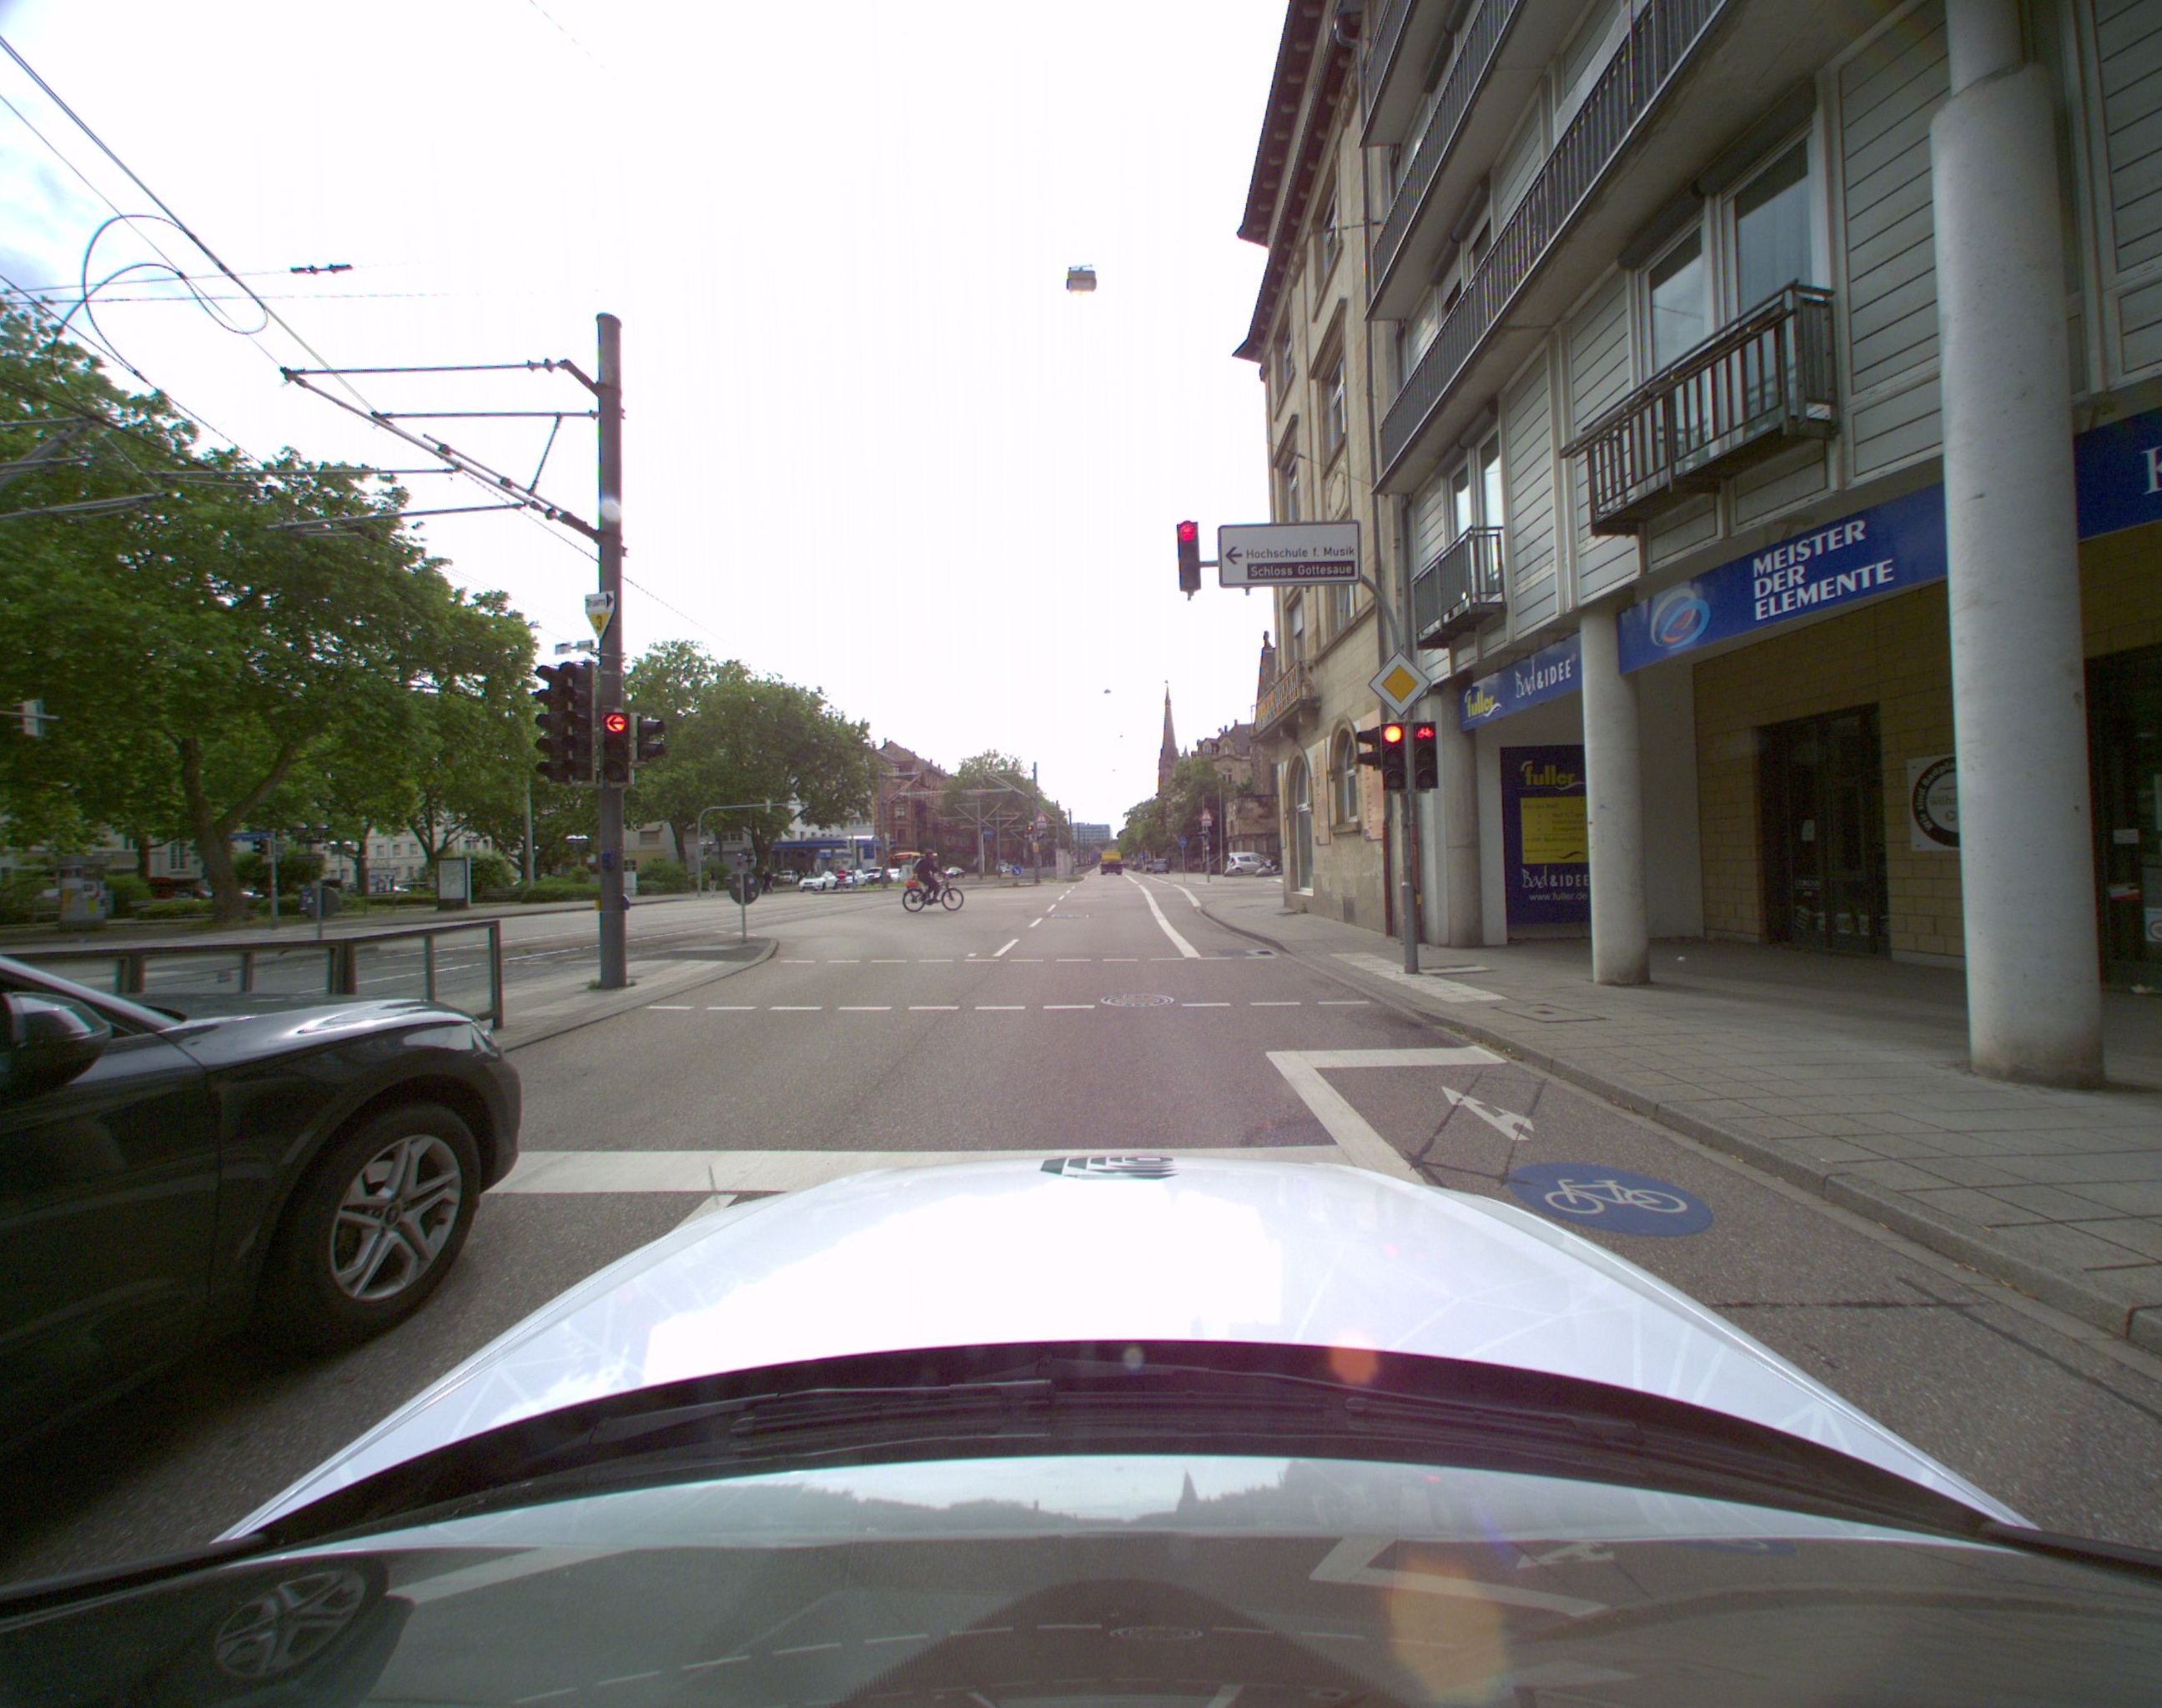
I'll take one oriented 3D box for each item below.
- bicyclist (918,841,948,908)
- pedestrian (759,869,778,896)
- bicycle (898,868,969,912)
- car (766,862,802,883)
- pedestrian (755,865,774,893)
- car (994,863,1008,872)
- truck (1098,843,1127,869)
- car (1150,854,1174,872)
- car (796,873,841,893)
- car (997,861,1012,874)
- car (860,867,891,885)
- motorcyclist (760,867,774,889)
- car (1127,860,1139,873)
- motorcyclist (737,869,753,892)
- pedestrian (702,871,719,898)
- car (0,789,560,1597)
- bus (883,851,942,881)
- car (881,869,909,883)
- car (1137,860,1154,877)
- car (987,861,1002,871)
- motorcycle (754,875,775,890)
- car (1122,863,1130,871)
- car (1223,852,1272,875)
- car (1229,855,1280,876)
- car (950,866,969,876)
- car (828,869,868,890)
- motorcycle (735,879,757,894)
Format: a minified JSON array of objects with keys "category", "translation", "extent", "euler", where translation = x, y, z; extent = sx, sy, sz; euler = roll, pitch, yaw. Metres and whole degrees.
[{"category":"bicyclist","translation":[-4.501,0.610,24.769],"extent":[0.696,2.014,0.776],"euler":[0,-1,-27]},{"category":"pedestrian","translation":[-20.060,1.825,52.279],"extent":[0.870,1.713,0.874],"euler":[-1,-1,-5]},{"category":"bicycle","translation":[-4.484,1.075,24.813],"extent":[2.002,1.272,0.744],"euler":[0,-1,-28]},{"category":"car","translation":[-29.758,1.811,81.807],"extent":[1.986,2.014,4.001],"euler":[-2,0,2]},{"category":"pedestrian","translation":[-20.031,1.573,51.516],"extent":[0.863,1.713,0.692],"euler":[-2,-1,5]},{"category":"car","translation":[-14.705,2.390,149.789],"extent":[1.986,1.610,4.001],"euler":[0,-1,2]},{"category":"truck","translation":[3.524,0.245,91.879],"extent":[3.044,2.769,9.818],"euler":[-2,0,2]},{"category":"car","translation":[8.973,0.993,89.957],"extent":[1.979,1.855,4.042],"euler":[-1,-1,14]},{"category":"car","translation":[-19.163,2.078,59.582],"extent":[1.739,1.321,4.079],"euler":[0,-1,3]},{"category":"car","translation":[-12.969,2.270,138.417],"extent":[1.986,2.014,4.001],"euler":[0,-1,2]},{"category":"car","translation":[-18.330,1.931,72.724],"extent":[1.649,1.478,3.641],"euler":[0,-1,3]},{"category":"motorcyclist","translation":[-21.604,1.654,56.055],"extent":[0.617,1.520,0.874],"euler":[-1,-1,2]},{"category":"car","translation":[8.688,2.061,135.984],"extent":[1.986,2.014,4.001],"euler":[0,-1,2]},{"category":"motorcyclist","translation":[-22.687,1.809,54.995],"extent":[0.617,1.520,0.874],"euler":[-1,-1,2]},{"category":"pedestrian","translation":[-23.486,1.909,51.588],"extent":[0.680,1.690,0.743],"euler":[0,-1,6]},{"category":"car","translation":[-3.069,0.688,1.234],"extent":[1.727,1.637,4.228],"euler":[0,-1,2]},{"category":"bus","translation":[-18.300,1.302,89.723],"extent":[3.217,3.035,12.323],"euler":[0,0,4]},{"category":"car","translation":[-18.159,2.103,79.646],"extent":[1.649,1.321,3.641],"euler":[0,-1,3]},{"category":"car","translation":[7.891,1.704,99.618],"extent":[1.985,2.014,4.004],"euler":[0,-1,4]},{"category":"car","translation":[-15.053,2.069,142.097],"extent":[1.986,1.610,4.001],"euler":[0,-1,2]},{"category":"motorcycle","translation":[-21.644,1.958,55.720],"extent":[0.604,0.928,1.953],"euler":[-2,-1,2]},{"category":"car","translation":[11.911,3.385,216.792],"extent":[1.986,2.014,4.001],"euler":[0,-1,2]},{"category":"car","translation":[13.926,0.794,68.243],"extent":[3.699,1.855,2.001],"euler":[0,-1,2]},{"category":"car","translation":[13.751,0.911,64.830],"extent":[3.699,1.563,2.001],"euler":[0,-1,2]},{"category":"car","translation":[-16.099,2.234,108.023],"extent":[1.649,1.321,3.641],"euler":[0,-1,3]},{"category":"car","translation":[-18.845,2.058,66.081],"extent":[1.986,1.594,4.001],"euler":[0,-1,2]},{"category":"motorcycle","translation":[-22.672,2.179,55.164],"extent":[0.604,0.928,1.953],"euler":[-2,-1,2]}]
